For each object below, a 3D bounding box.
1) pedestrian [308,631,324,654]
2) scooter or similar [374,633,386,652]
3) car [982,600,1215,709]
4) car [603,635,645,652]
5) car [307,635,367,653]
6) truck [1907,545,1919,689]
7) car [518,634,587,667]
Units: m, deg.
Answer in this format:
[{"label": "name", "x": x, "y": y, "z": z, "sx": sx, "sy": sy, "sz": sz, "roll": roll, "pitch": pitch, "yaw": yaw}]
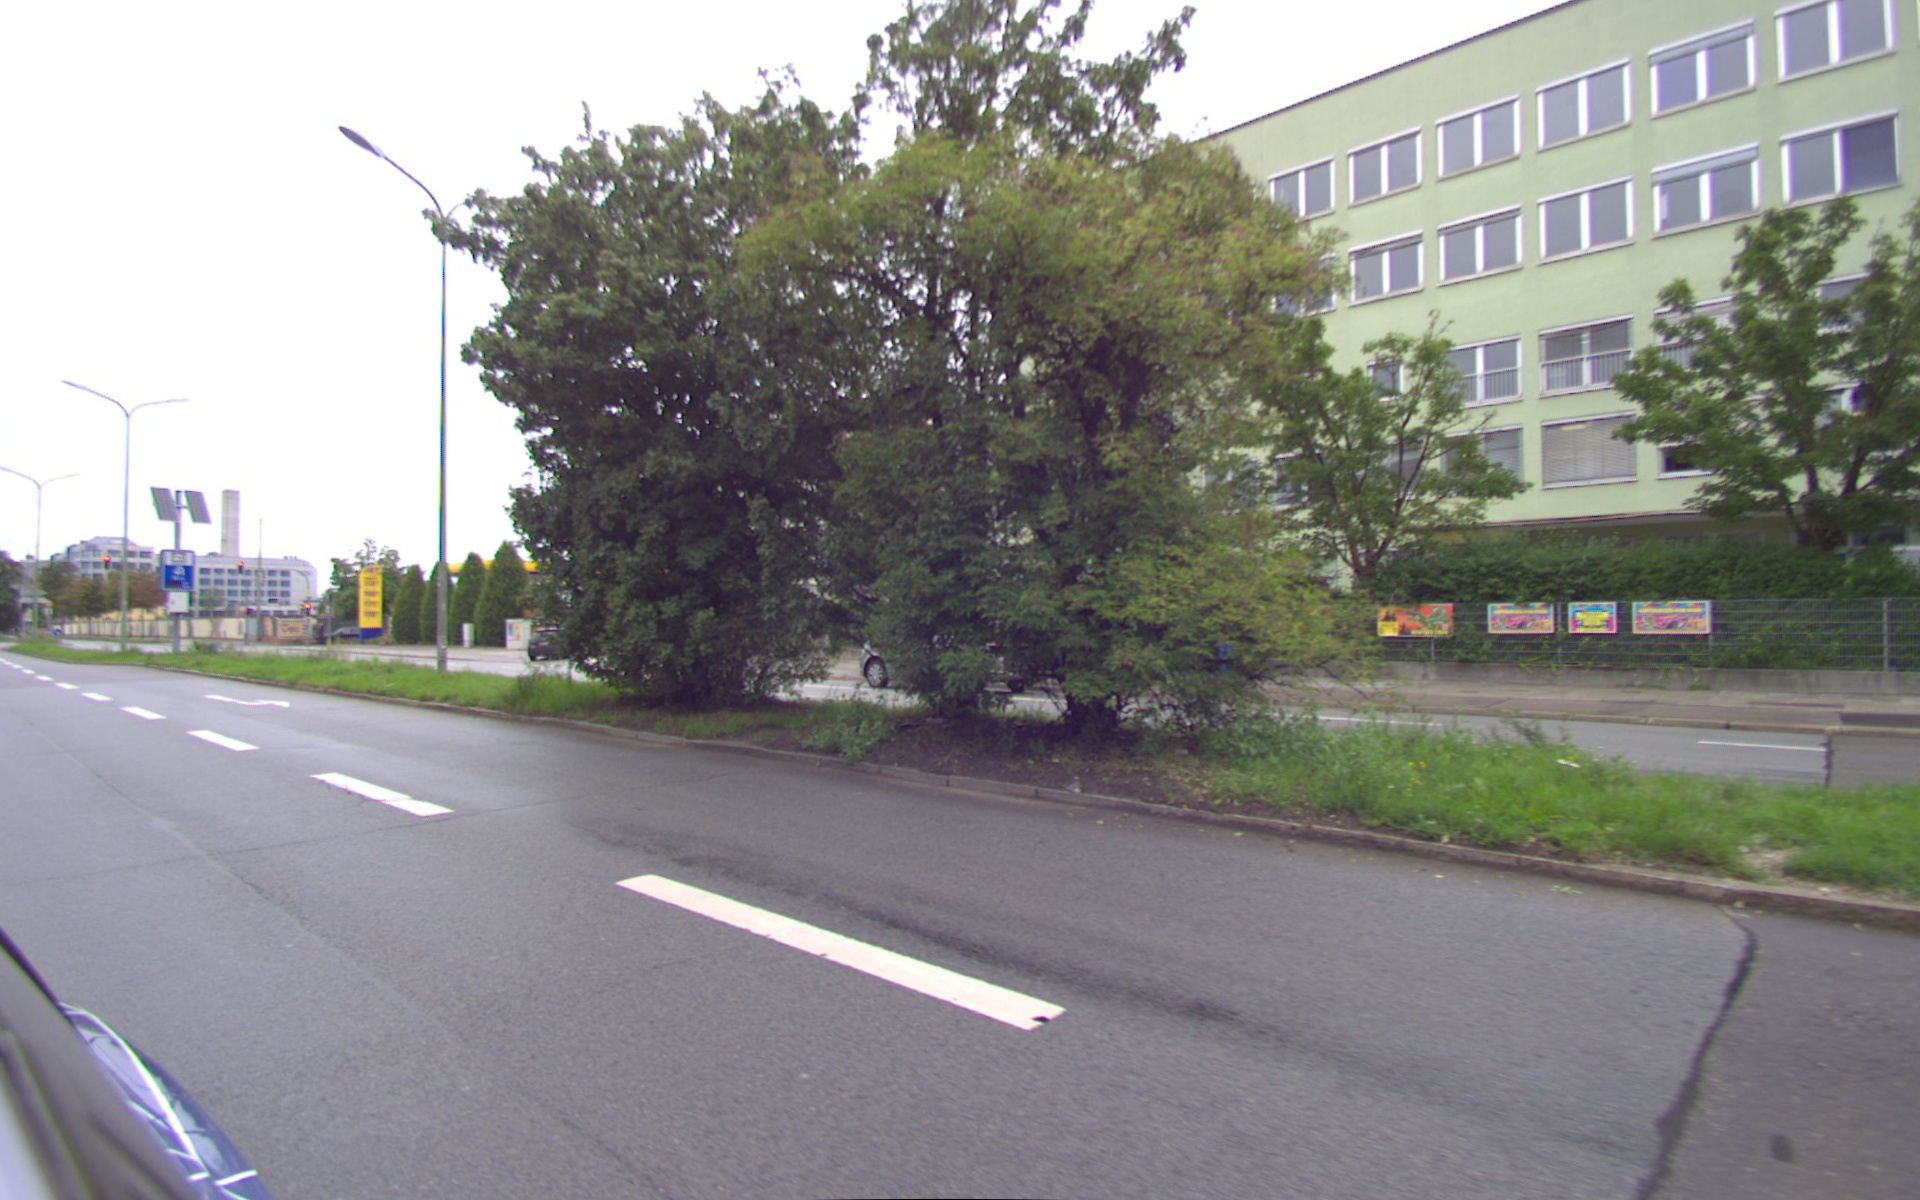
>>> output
[{"label": "pedestrian", "x": -47.781, "y": 3.138, "z": 75.086, "sx": 0.687, "sy": 1.627, "sz": 0.793, "roll": -2, "pitch": -1, "yaw": 42}, {"label": "scooter or similar", "x": -39.084, "y": 2.867, "z": 68.240, "sx": 0.351, "sy": 1.252, "sz": 1.547, "roll": -2, "pitch": -1, "yaw": -42}, {"label": "car", "x": 2.714, "y": 1.085, "z": 20.463, "sx": 4.323, "sy": 1.976, "sz": 1.972, "roll": -2, "pitch": -4, "yaw": 42}, {"label": "car", "x": -30.958, "y": 4.008, "z": 93.277, "sx": 4.193, "sy": 1.489, "sz": 1.882, "roll": -2, "pitch": -4, "yaw": 43}, {"label": "car", "x": -54.969, "y": 3.876, "z": 89.298, "sx": 4.201, "sy": 1.439, "sz": 2.001, "roll": 1, "pitch": -2, "yaw": -44}, {"label": "truck", "x": 20.827, "y": 0.286, "z": 18.197, "sx": 1.969, "sy": 2.769, "sz": 5.311, "roll": 3, "pitch": -4, "yaw": -41}, {"label": "car", "x": -18.567, "y": 2.302, "z": 46.330, "sx": 1.968, "sy": 1.412, "sz": 4.664, "roll": 1, "pitch": -3, "yaw": -10}]
